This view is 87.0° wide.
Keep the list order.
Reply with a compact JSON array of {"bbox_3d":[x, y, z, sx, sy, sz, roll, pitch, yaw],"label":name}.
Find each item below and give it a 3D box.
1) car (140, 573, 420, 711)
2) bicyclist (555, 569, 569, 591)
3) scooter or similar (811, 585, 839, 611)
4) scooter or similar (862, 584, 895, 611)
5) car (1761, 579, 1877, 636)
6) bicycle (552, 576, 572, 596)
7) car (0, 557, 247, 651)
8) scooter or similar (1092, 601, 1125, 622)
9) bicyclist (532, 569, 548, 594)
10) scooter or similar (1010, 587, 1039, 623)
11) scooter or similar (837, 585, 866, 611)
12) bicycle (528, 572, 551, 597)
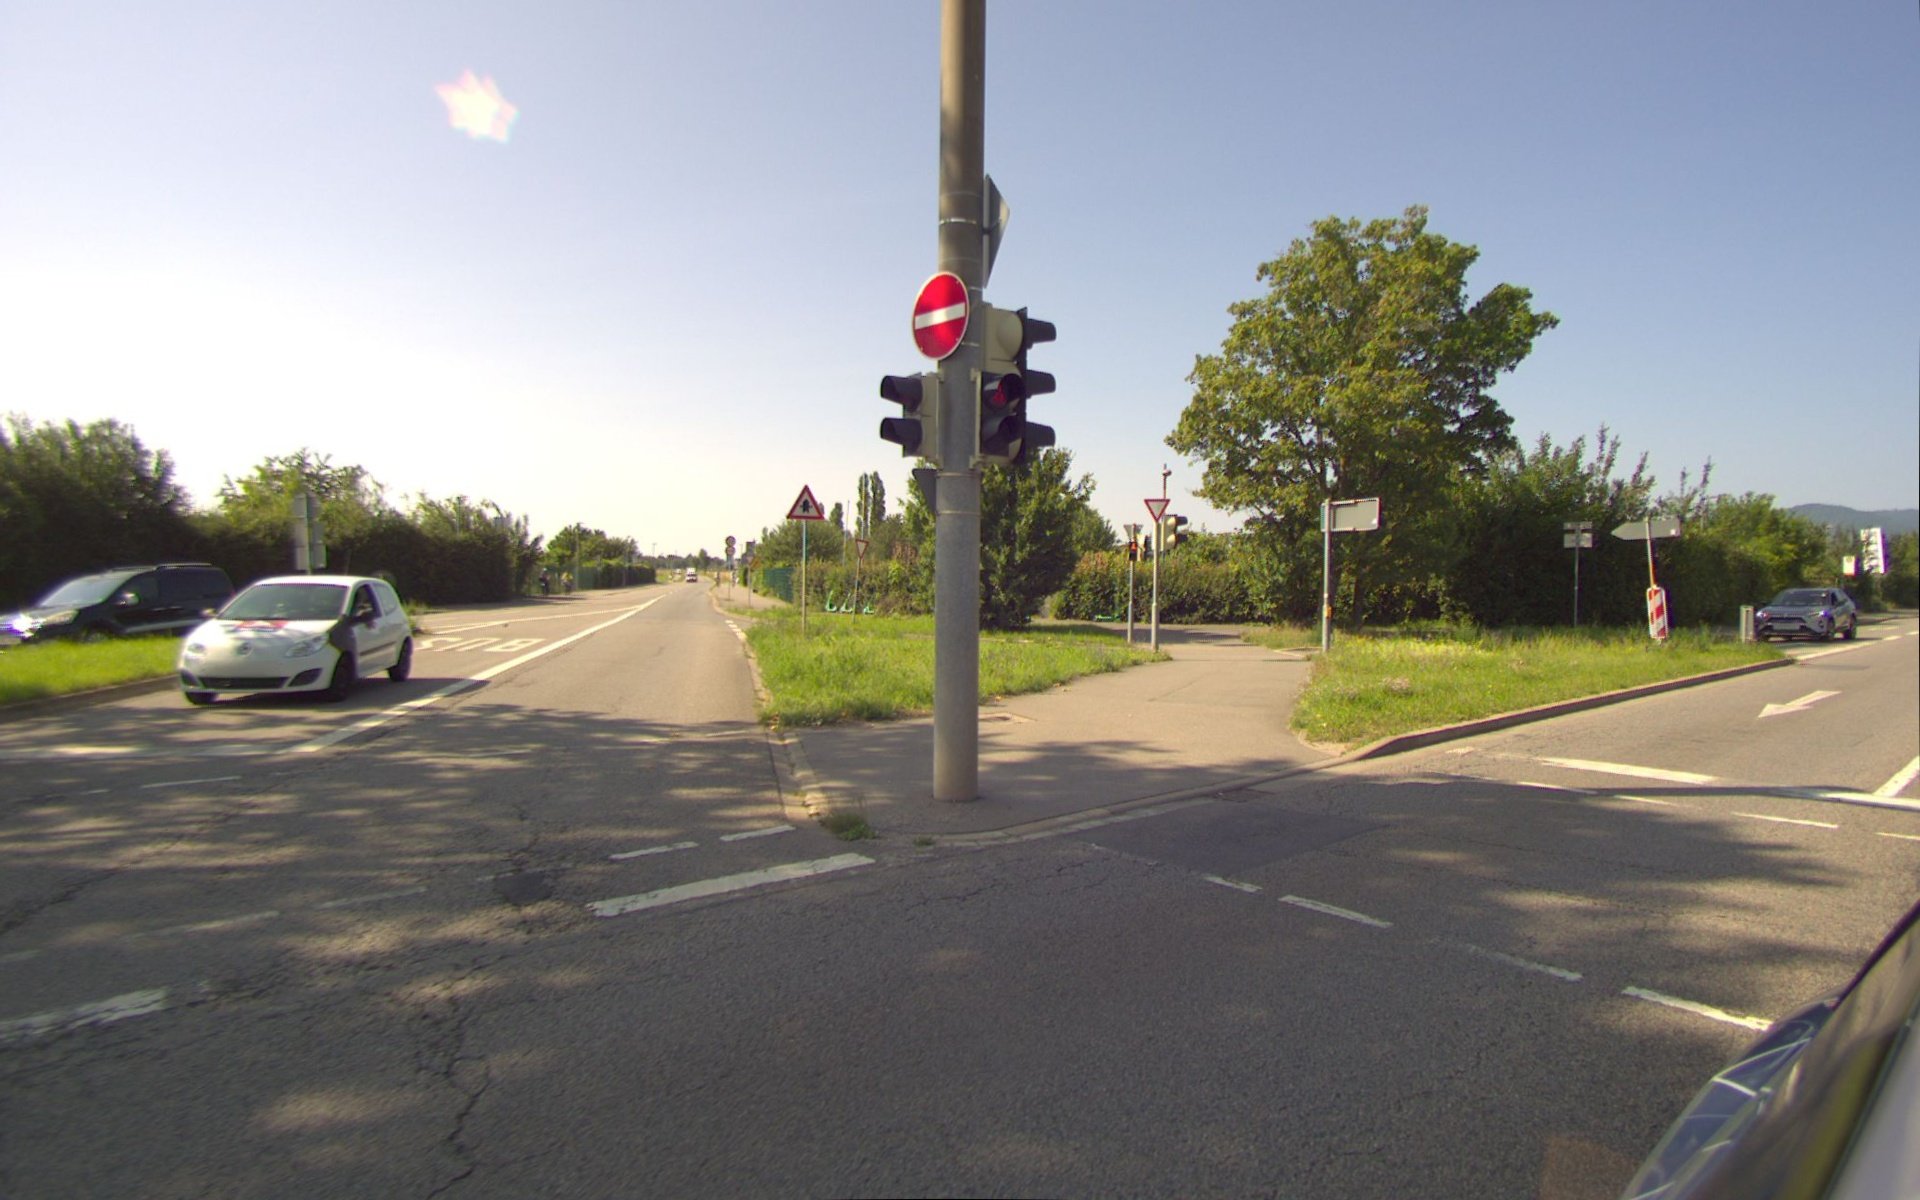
[{"bbox_3d":[-8.409,0.409,12.932,1.748,1.487,3.763,0,1,-13],"label":"car"},{"bbox_3d":[-25.165,-1.245,64.025,0.599,1.398,0.920,-1,0,-7],"label":"bicyclist"},{"bbox_3d":[-6.016,-0.090,45.066,1.379,1.131,0.493,0,1,44],"label":"scooter or similar"},{"bbox_3d":[-3.461,-0.101,43.123,1.373,1.131,0.495,0,0,32],"label":"scooter or similar"},{"bbox_3d":[27.328,0.201,32.147,4.597,1.701,1.907,0,0,-37],"label":"car"},{"bbox_3d":[-25.145,-0.890,63.937,0.599,1.248,2.284,-1,1,-7],"label":"bicycle"},{"bbox_3d":[-17.000,0.069,20.431,1.853,1.655,4.465,-2,0,3],"label":"car"},{"bbox_3d":[5.510,0.408,37.626,1.113,0.735,0.431,2,2,31],"label":"scooter or similar"},{"bbox_3d":[-23.980,-1.058,57.834,0.599,1.398,0.920,-1,0,-7],"label":"bicyclist"},{"bbox_3d":[2.349,0.177,36.810,0.961,1.250,0.431,2,2,31],"label":"scooter or similar"},{"bbox_3d":[-4.717,-0.093,43.915,1.379,1.131,0.493,0,1,44],"label":"scooter or similar"},{"bbox_3d":[-23.979,-0.886,57.737,0.599,1.393,2.284,-1,1,-7],"label":"bicycle"}]
